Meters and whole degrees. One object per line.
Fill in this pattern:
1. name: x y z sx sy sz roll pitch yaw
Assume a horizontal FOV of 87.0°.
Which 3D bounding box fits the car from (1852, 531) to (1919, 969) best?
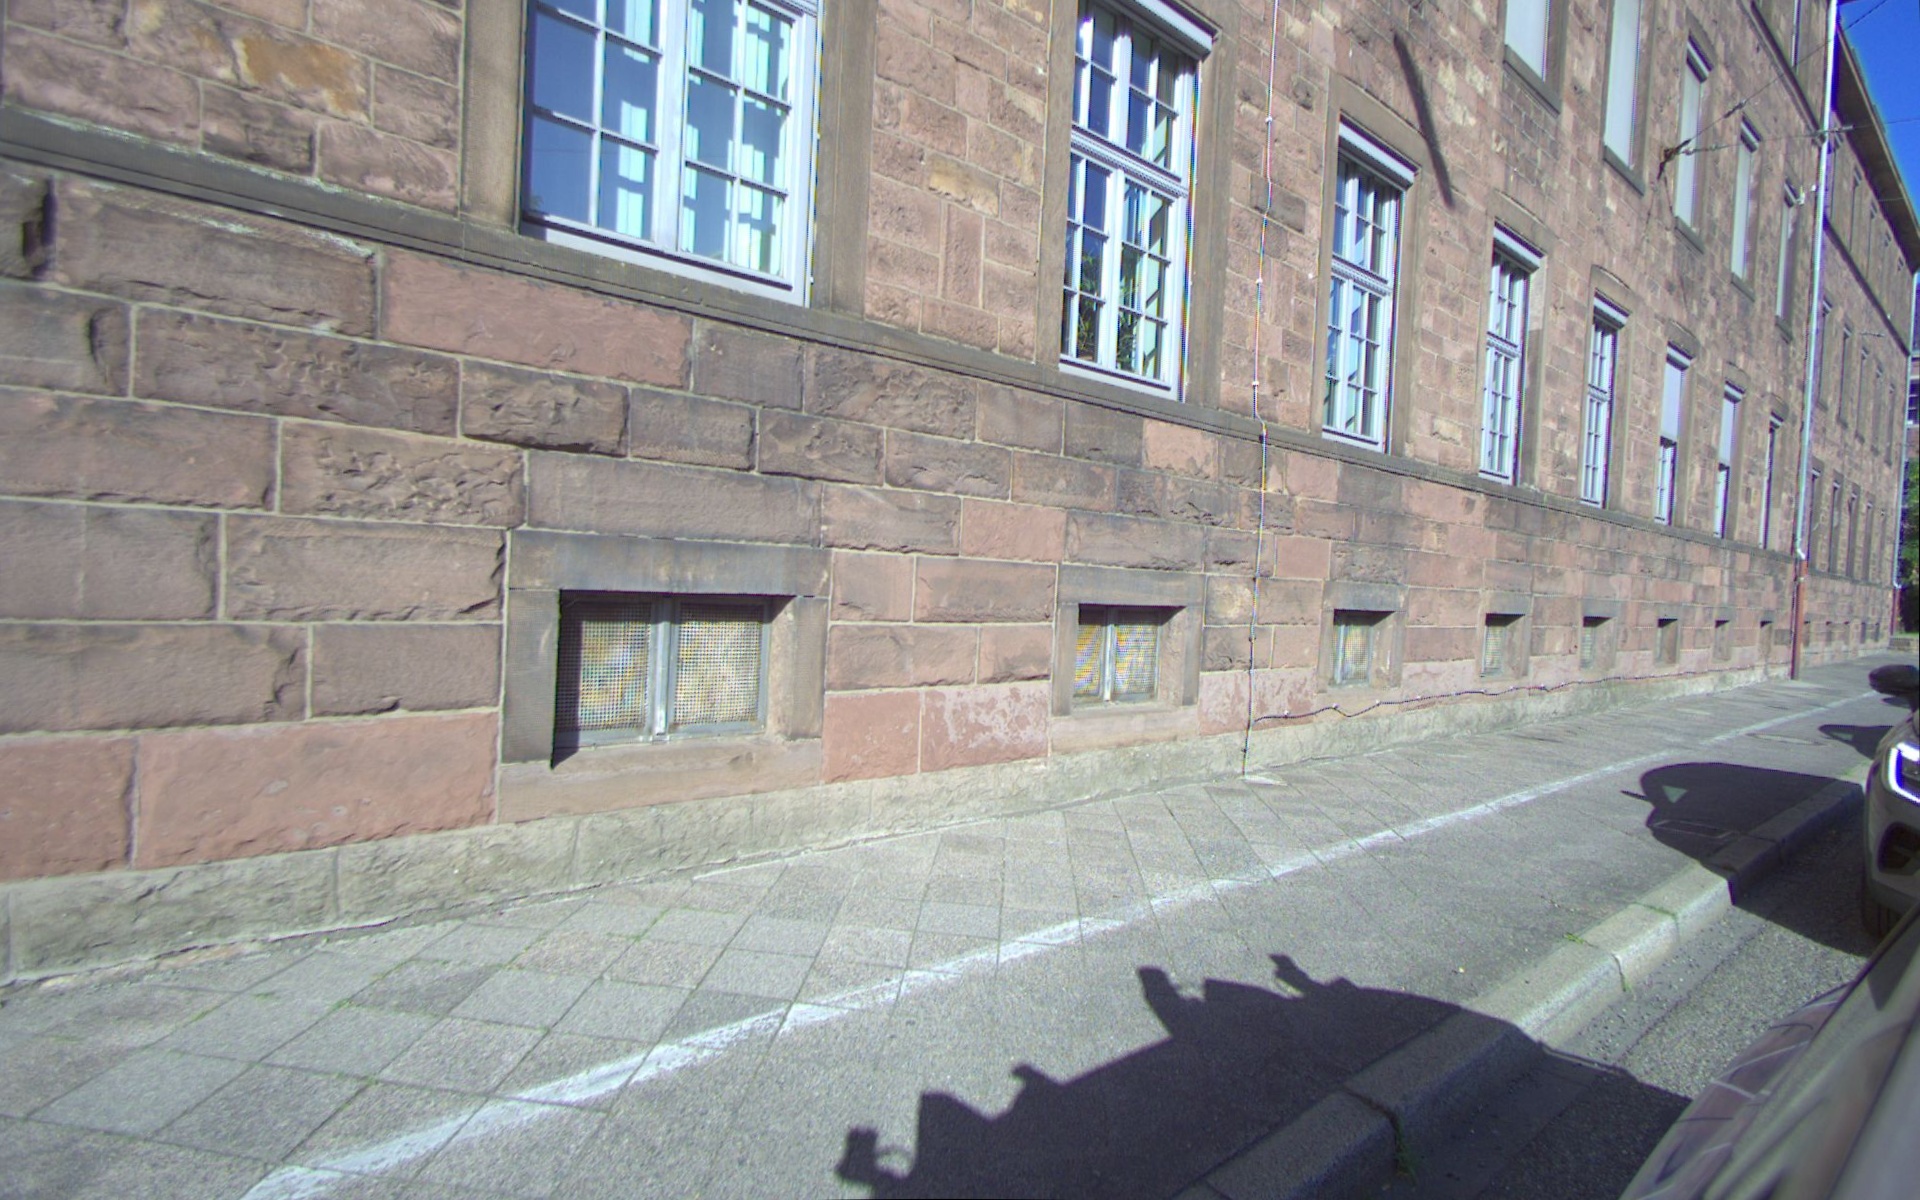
1. car: 5.411 0.596 4.506 3.735 1.624 1.793 1 1 -43
